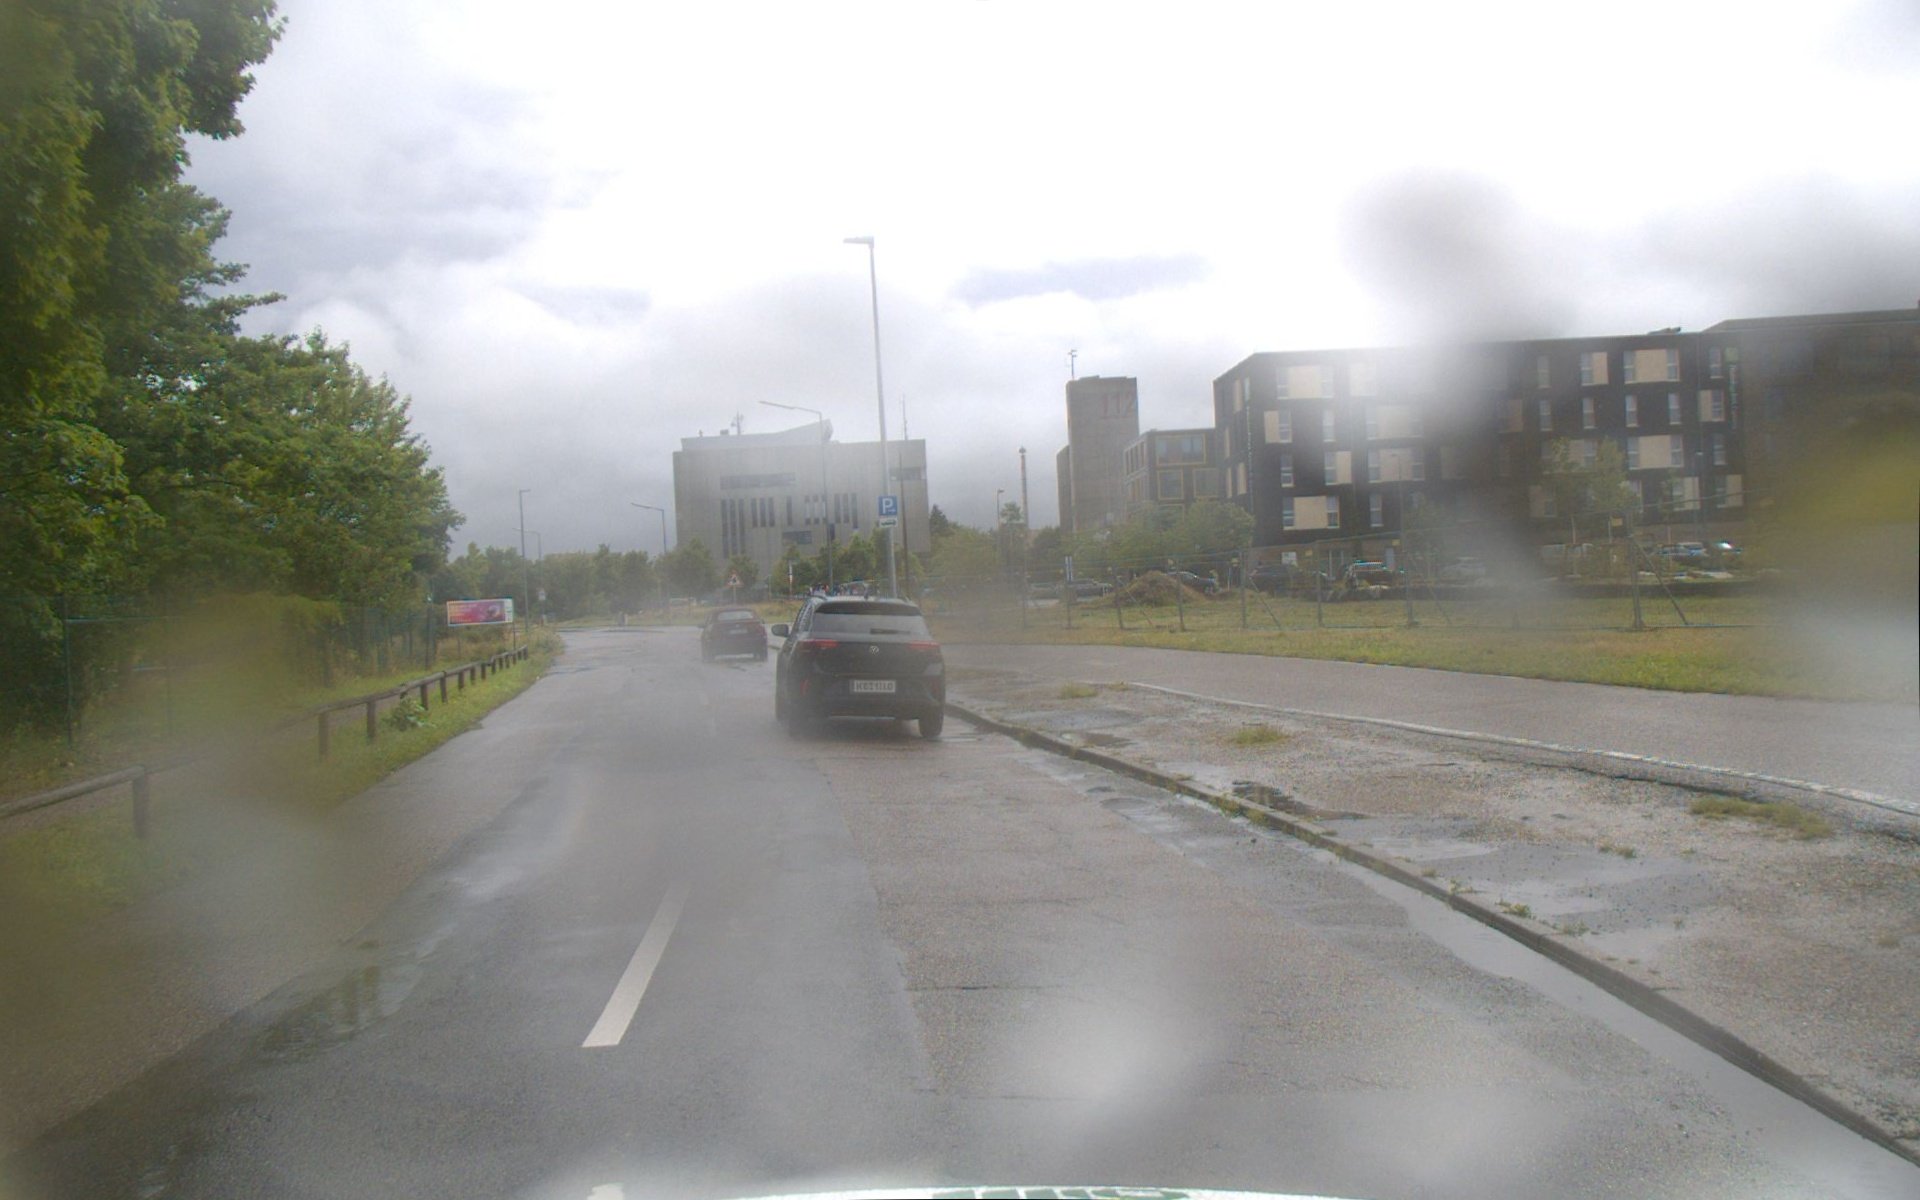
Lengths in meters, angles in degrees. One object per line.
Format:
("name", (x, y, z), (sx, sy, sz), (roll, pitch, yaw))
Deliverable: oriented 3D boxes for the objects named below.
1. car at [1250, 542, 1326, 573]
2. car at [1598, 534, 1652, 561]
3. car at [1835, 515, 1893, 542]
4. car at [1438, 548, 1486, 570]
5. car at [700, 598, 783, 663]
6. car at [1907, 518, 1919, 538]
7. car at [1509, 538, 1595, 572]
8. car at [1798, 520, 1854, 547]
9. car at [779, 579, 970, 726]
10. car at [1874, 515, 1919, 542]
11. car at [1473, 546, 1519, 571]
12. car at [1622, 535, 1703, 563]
("car", (18.946, -2.430, 95.746), (3.911, 1.758, 1.997), (0, 1, -7))
("car", (42.871, -3.363, 106.649), (1.744, 1.643, 3.840), (0, 1, -4))
("car", (58.919, -4.627, 107.875), (1.513, 1.643, 3.840), (0, 1, -4))
("car", (32.513, -2.639, 107.230), (1.728, 1.419, 3.805), (0, 1, -4))
("car", (-6.017, 0.793, 45.229), (1.810, 1.466, 3.987), (-6, 2, -12))
("car", (64.195, -4.772, 108.688), (1.516, 1.319, 3.901), (0, 1, -4))
("car", (34.477, -2.605, 96.358), (4.236, 1.803, 1.999), (2, 1, -2))
("car", (56.482, -4.341, 107.938), (1.513, 1.643, 3.840), (0, 1, -4))
("car", (-1.126, 0.531, 19.669), (1.949, 1.547, 3.993), (0, 1, -8))
("car", (61.784, -4.646, 108.356), (1.513, 1.643, 3.840), (0, 1, -4))
("car", (34.725, -2.673, 107.263), (1.605, 1.421, 3.779), (-1, 0, -3))
("car", (41.359, -2.989, 97.465), (3.908, 1.439, 1.999), (-3, 1, -3))
